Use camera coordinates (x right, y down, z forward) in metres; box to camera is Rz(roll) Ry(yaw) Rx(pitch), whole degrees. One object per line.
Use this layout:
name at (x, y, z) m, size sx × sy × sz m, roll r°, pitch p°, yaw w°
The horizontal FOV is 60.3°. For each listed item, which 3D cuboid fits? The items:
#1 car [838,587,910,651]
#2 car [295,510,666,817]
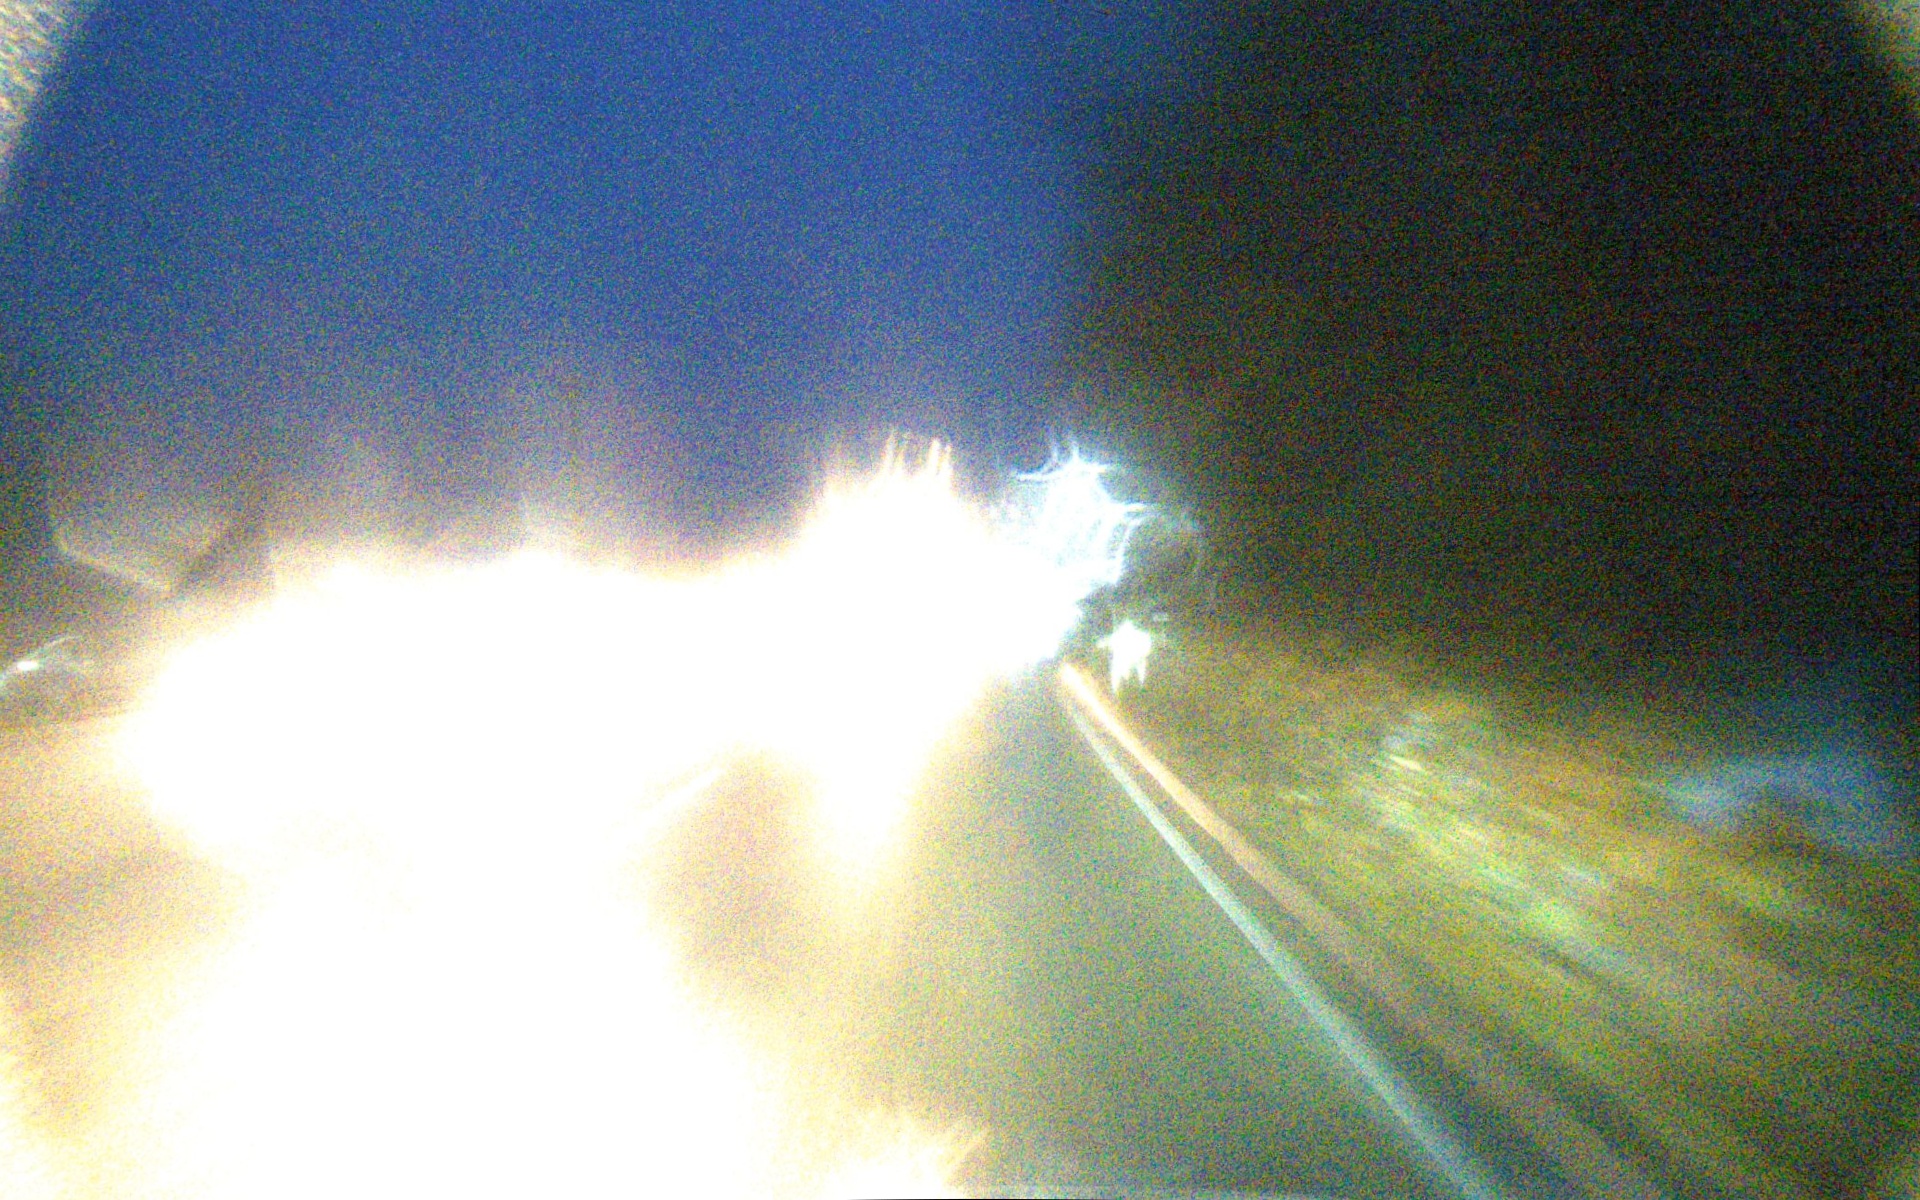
car at (-2.594, 0.537, 50.763) m, size 1.953 × 1.684 × 4.000 m, roll -4°, pitch 2°, yaw -1°
car at (-3.331, 0.382, 12.281) m, size 1.722 × 1.900 × 3.998 m, roll 0°, pitch 0°, yaw -2°
